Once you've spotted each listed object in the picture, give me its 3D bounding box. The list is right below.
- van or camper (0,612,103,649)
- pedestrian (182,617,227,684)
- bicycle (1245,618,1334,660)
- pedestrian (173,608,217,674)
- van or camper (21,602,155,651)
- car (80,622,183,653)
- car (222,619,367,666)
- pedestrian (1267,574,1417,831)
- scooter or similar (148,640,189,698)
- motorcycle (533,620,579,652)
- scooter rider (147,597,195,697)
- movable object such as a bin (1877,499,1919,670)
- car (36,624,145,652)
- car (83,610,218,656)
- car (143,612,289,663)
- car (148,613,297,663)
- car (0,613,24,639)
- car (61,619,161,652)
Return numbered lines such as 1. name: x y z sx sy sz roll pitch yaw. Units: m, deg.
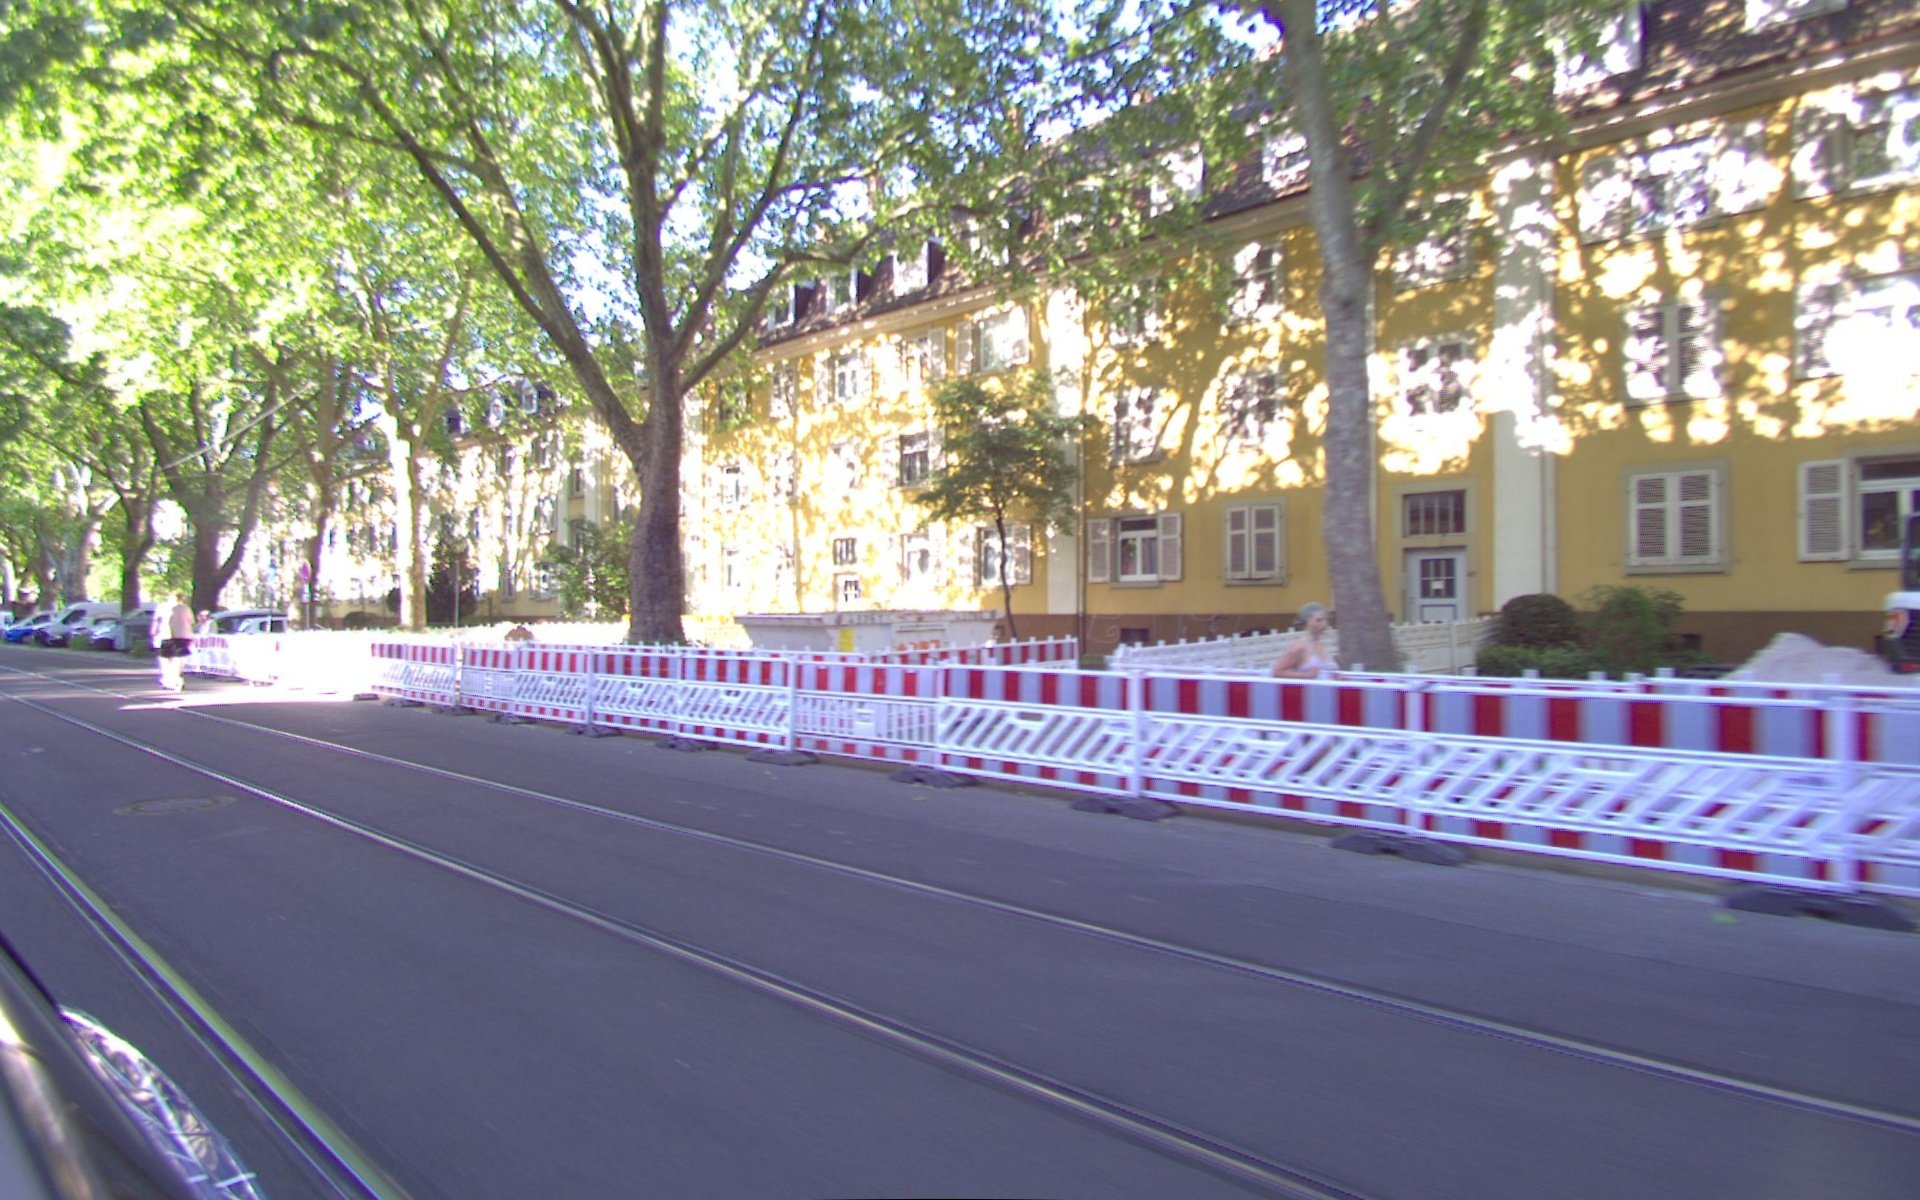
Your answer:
1. van or camper: -57.671 1.906 64.201 2.118 2.206 4.771 -1 -1 40
2. pedestrian: -20.367 1.346 27.272 0.796 1.758 0.813 -1 0 41
3. bicycle: 6.667 0.780 20.540 1.641 0.825 0.501 -1 -1 38
4. pedestrian: -21.052 1.119 27.854 0.796 1.758 0.813 -1 0 41
5. van or camper: -48.085 1.409 55.915 2.443 2.535 5.334 -1 -1 40
6. car: -42.387 1.885 51.820 1.861 1.509 3.807 -2 -2 41
7. car: -22.836 1.417 34.805 1.861 1.509 3.807 -2 -2 41
8. pedestrian: 2.697 0.672 7.149 0.778 1.682 0.709 -1 0 41
9. scooter or similar: -15.924 1.370 20.354 1.338 1.091 0.403 -1 0 42
10. motorcycle: -16.450 1.451 41.253 0.523 1.250 1.691 -2 -2 42
11. scooter rider: -15.931 0.938 20.445 0.624 1.972 0.642 -1 0 41
12. movable object such as a bin: 11.538 -0.186 11.192 2.007 1.883 1.319 -1 0 41
13. car: -46.337 2.001 54.004 1.752 1.409 4.219 -2 -2 41
14. car: -37.829 1.498 47.373 1.959 1.960 4.613 -1 -1 38
15. car: -28.168 1.387 38.404 1.738 1.771 4.158 -1 -1 39
16. car: -26.667 1.329 36.672 4.183 1.701 1.935 1 -2 -42
17. car: -91.416 2.484 95.031 2.026 2.416 4.956 -2 -1 39
18. car: -44.412 1.827 52.985 1.861 1.675 3.807 -2 -2 41
